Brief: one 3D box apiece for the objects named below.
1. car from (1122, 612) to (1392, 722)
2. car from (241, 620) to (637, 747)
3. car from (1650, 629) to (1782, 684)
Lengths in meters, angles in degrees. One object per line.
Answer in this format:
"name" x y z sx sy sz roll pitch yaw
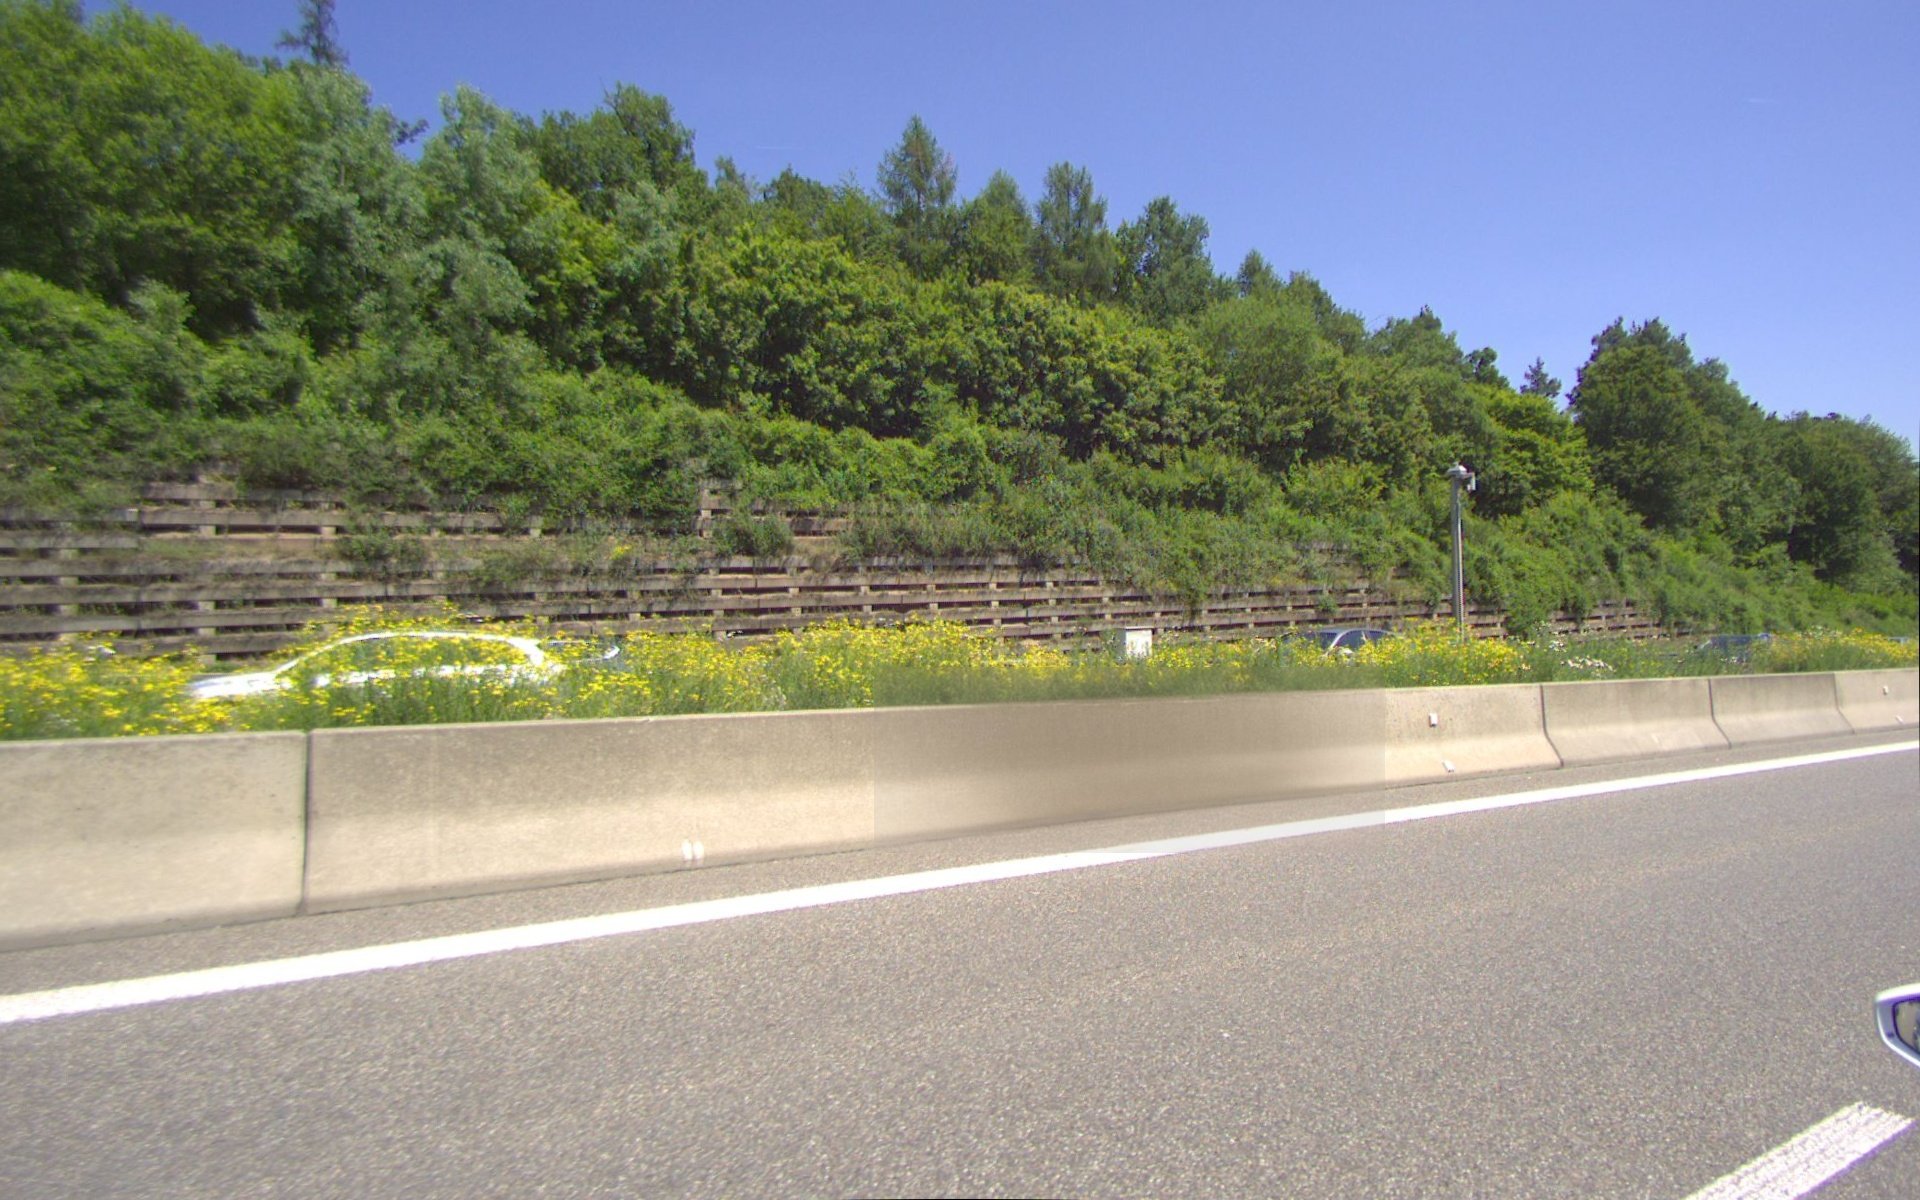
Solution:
"car" 4.734 0.985 15.864 4.155 1.542 1.779 1 -1 -31
"car" -6.394 0.950 12.651 4.155 1.362 1.779 1 -1 -31
"car" 22.766 1.663 30.224 4.155 1.542 1.779 1 -1 -31
